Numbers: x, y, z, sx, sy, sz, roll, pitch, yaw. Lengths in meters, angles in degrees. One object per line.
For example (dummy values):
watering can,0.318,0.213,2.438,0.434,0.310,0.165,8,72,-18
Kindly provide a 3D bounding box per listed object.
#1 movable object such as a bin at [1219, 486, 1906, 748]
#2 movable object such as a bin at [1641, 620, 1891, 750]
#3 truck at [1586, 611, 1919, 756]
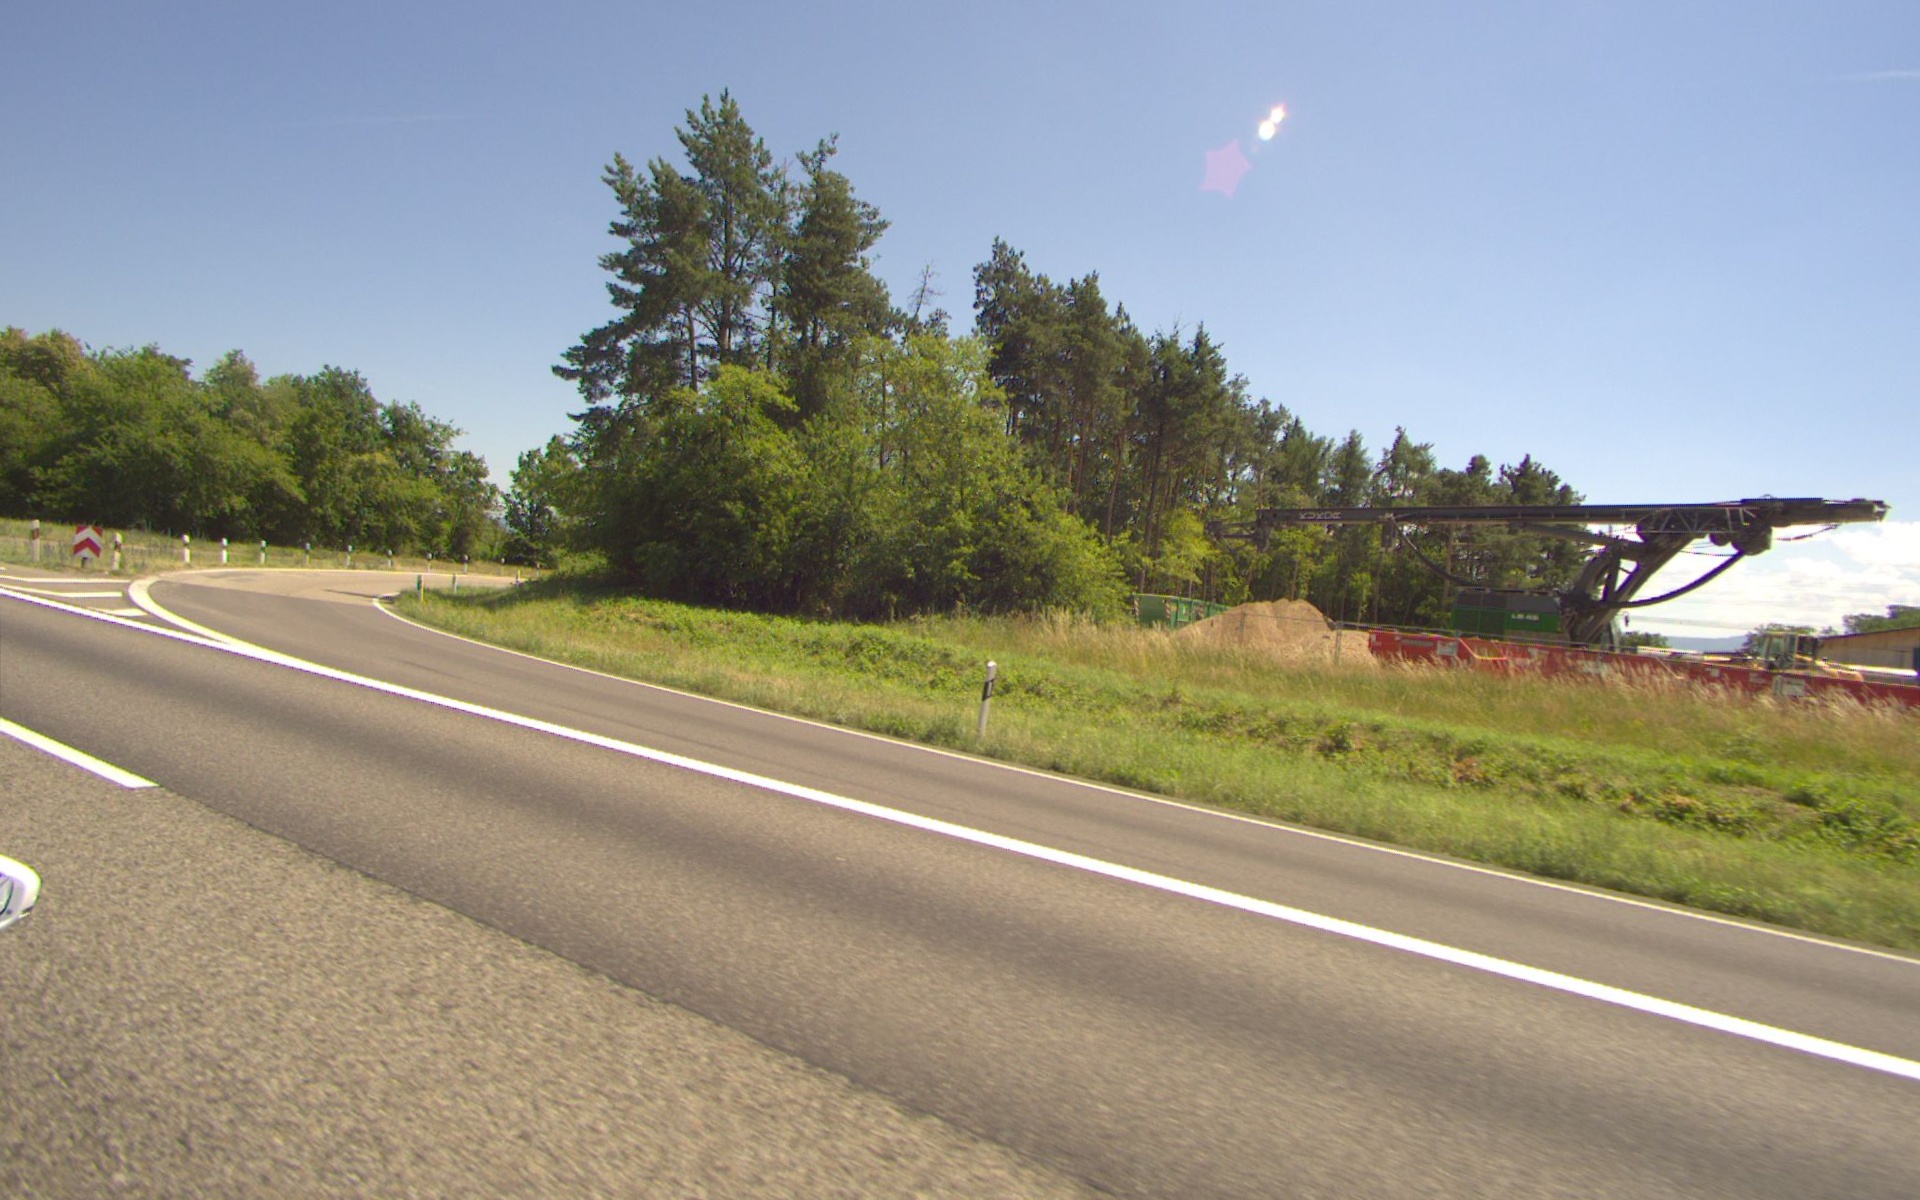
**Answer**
movable object such as a bin,21.454,-0.154,39.720,3.123,8.020,22.503,8,-1,-45
movable object such as a bin,31.677,3.185,40.025,3.881,4.259,6.645,8,-1,-5
truck,40.128,4.042,48.790,15.945,5.288,3.130,7,-1,38
